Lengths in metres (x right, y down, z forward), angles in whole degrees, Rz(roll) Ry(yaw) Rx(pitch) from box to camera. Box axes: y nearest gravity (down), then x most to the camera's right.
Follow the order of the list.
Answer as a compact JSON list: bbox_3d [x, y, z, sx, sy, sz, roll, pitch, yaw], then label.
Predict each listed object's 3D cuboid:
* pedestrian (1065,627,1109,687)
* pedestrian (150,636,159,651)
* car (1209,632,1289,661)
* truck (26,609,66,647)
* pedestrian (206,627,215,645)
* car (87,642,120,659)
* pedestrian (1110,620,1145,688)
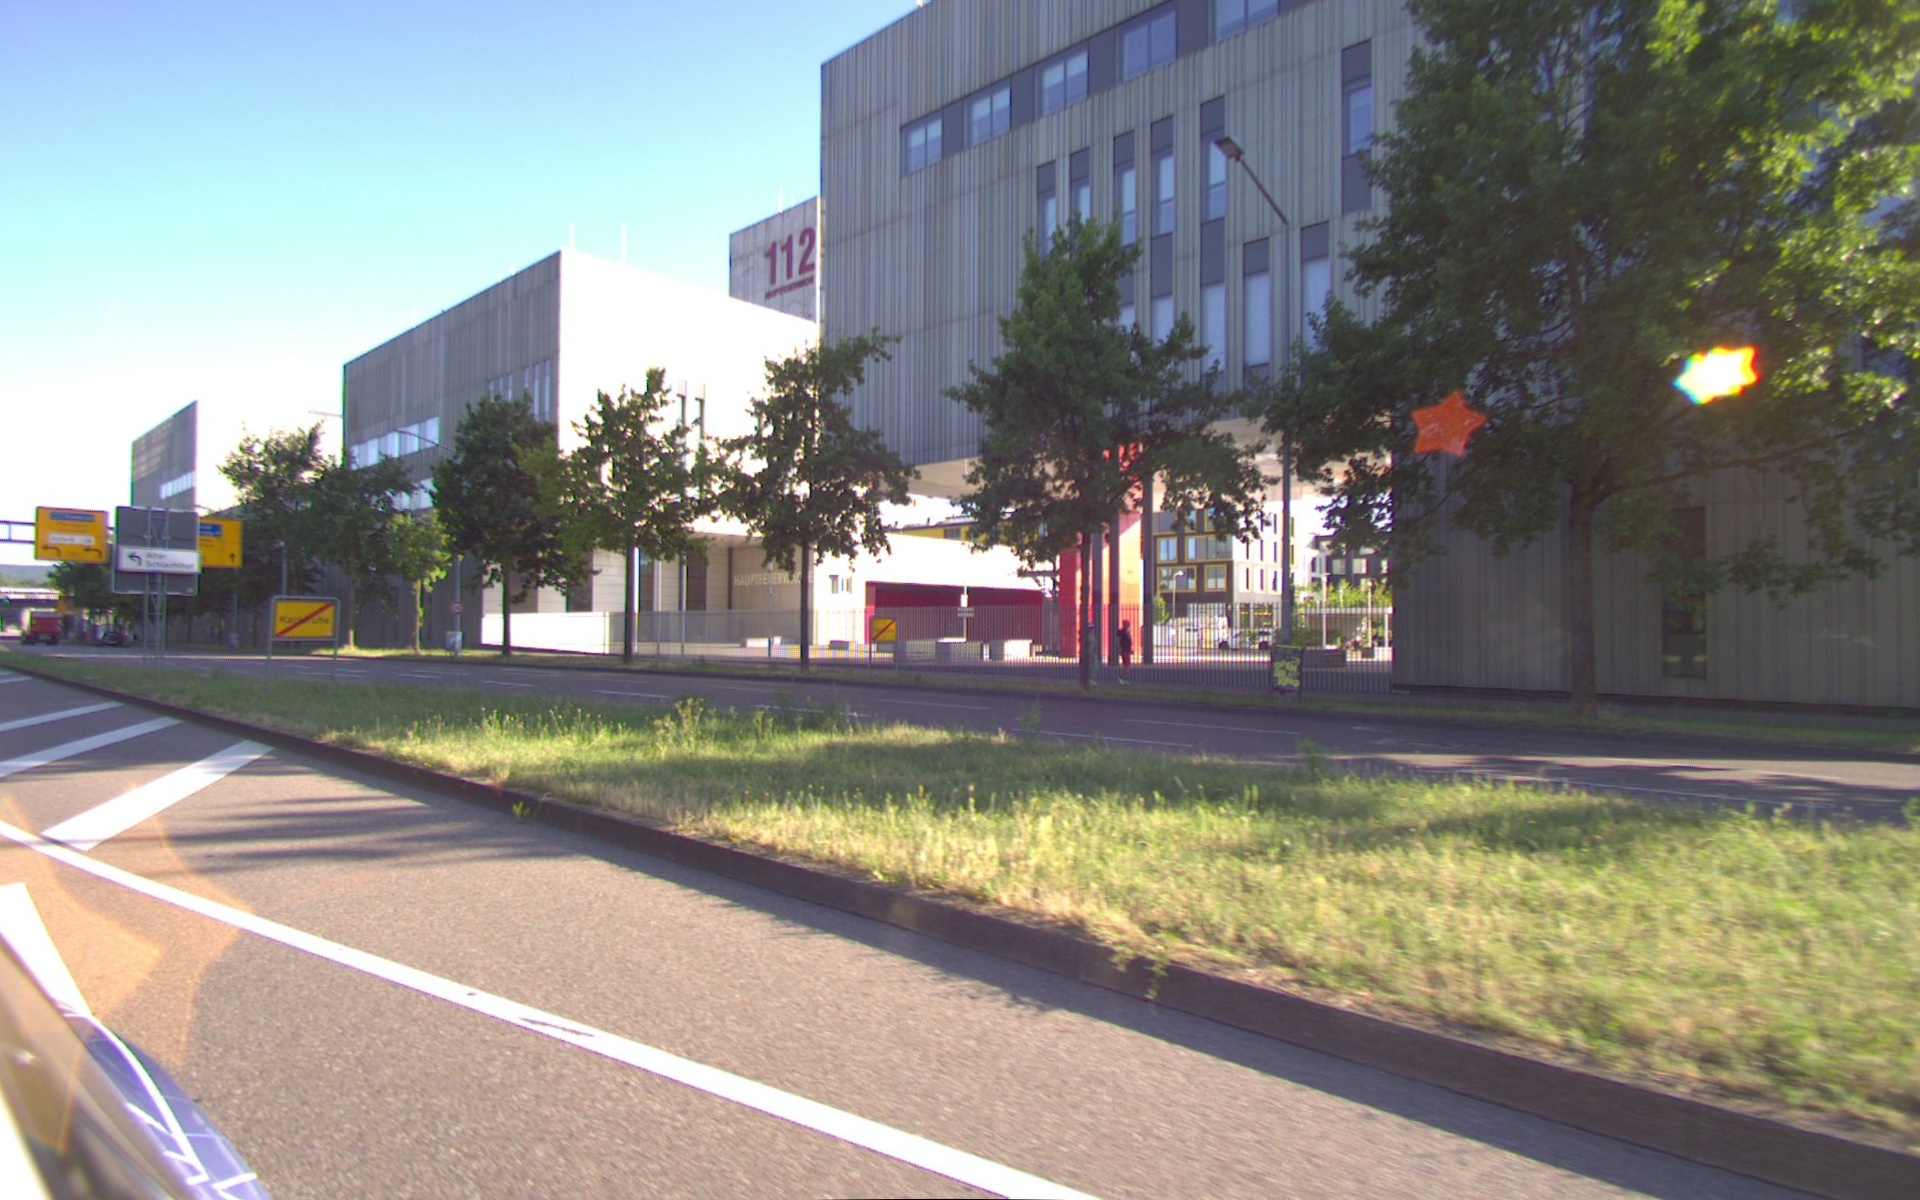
[{"bbox_3d":[3.491,1.551,27.878,0.909,1.614,0.767,-2,-2,43],"label":"pedestrian"},{"bbox_3d":[-88.285,4.730,110.928,0.725,1.641,0.689,-2,-3,42],"label":"pedestrian"},{"bbox_3d":[19.265,3.071,67.627,4.784,1.889,1.885,-2,-2,41],"label":"car"},{"bbox_3d":[-96.288,3.010,106.568,2.962,3.840,10.100,1,-2,-42],"label":"truck"},{"bbox_3d":[-76.951,3.710,103.901,0.649,1.781,0.596,-2,-3,43],"label":"pedestrian"},{"bbox_3d":[-78.698,4.628,92.971,3.862,1.524,1.580,-2,-2,38],"label":"car"},{"bbox_3d":[4.632,1.488,28.063,0.716,1.855,0.625,-2,-2,43],"label":"pedestrian"}]
